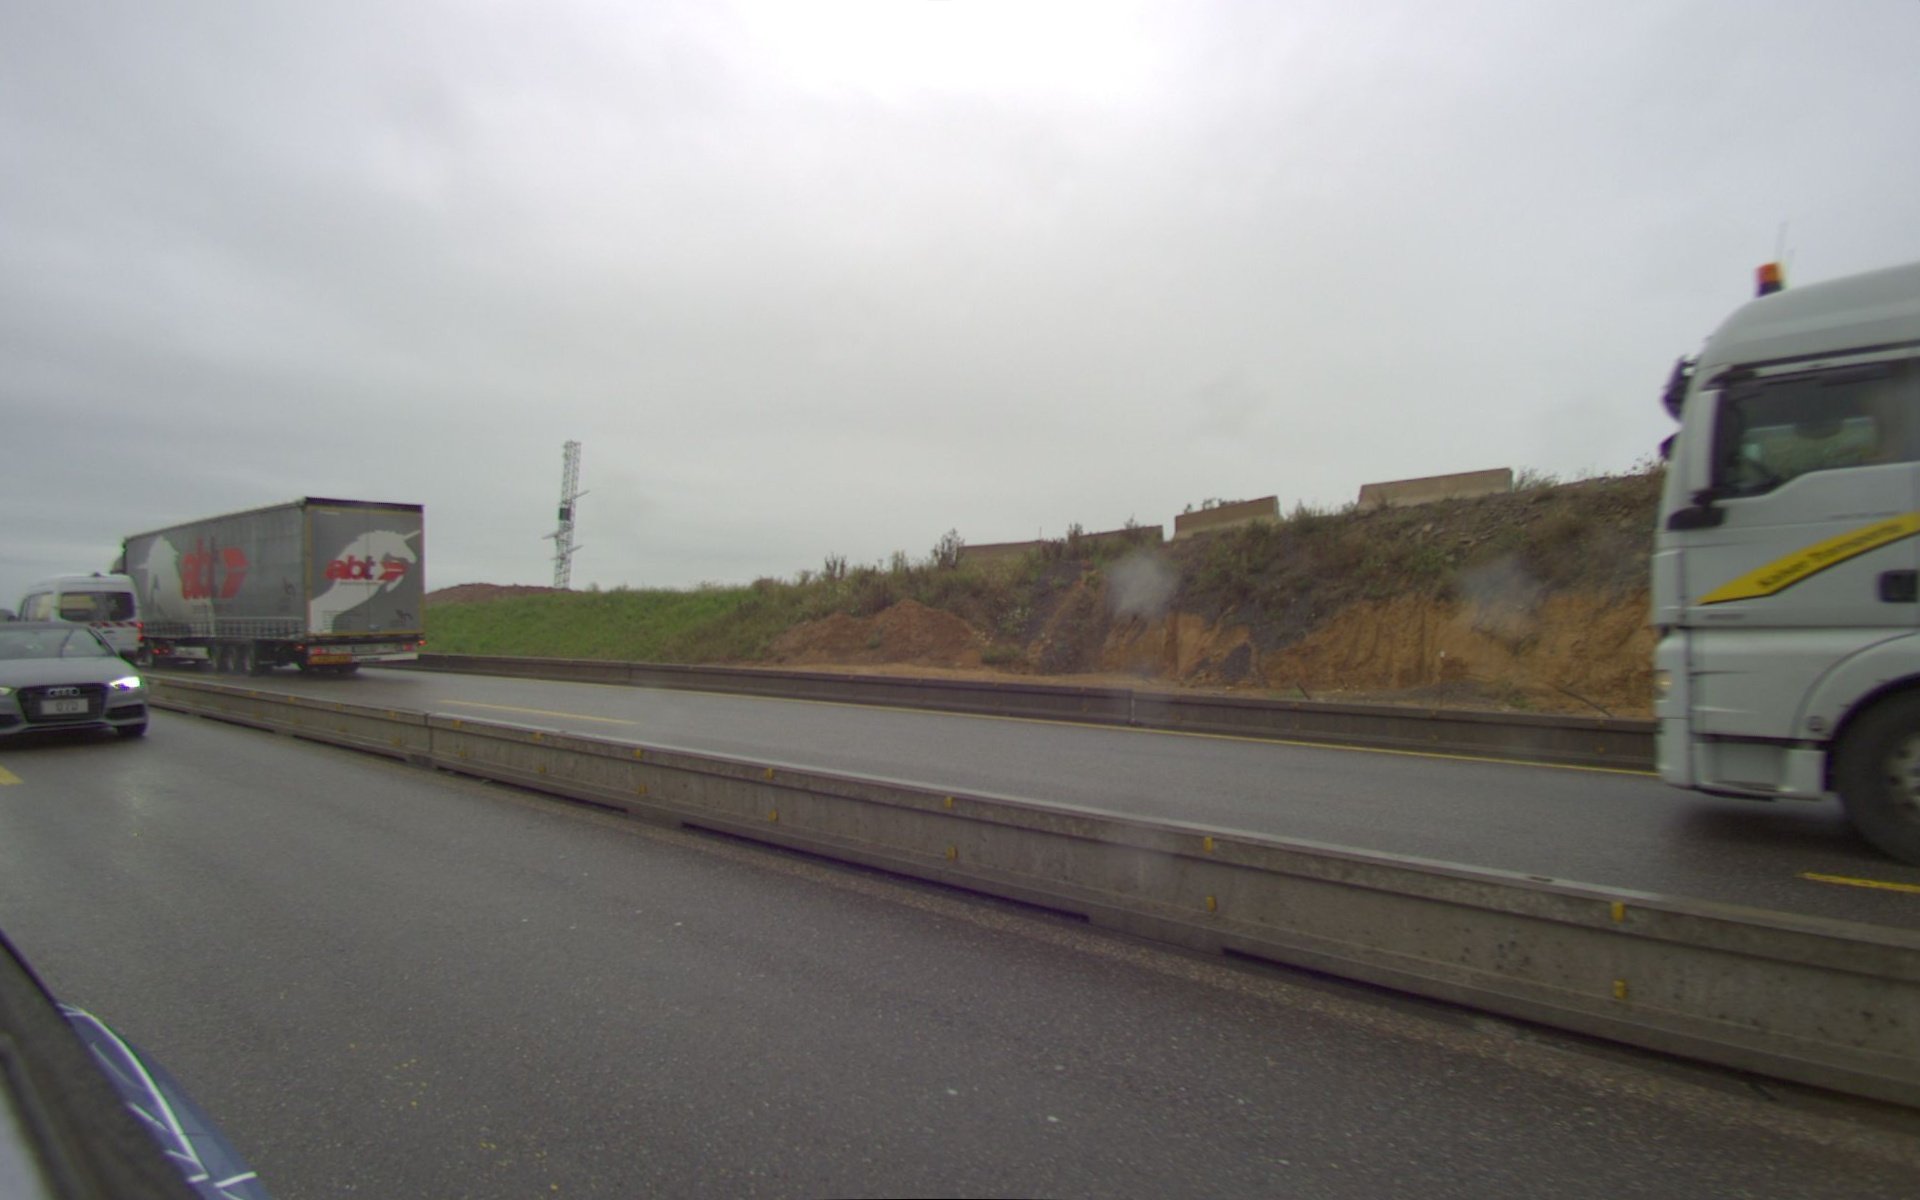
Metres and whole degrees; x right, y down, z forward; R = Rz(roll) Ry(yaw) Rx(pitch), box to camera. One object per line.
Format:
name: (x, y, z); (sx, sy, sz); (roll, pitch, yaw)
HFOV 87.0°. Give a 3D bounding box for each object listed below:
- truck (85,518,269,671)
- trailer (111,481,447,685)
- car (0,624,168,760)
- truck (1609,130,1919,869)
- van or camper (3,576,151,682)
truck: (-25.357, -0.043, 32.655); (6.921, 4.443, 2.951); (-1, -3, 38)
trailer: (-19.472, -0.167, 28.050); (15.680, 4.455, 2.966); (-2, -3, 38)
car: (-11.391, 1.015, 12.348); (4.082, 1.393, 1.783); (-1, -1, 38)
truck: (7.358, -0.542, 5.645); (5.879, 3.985, 3.197); (-1, -1, 41)
van or camper: (-24.365, 0.752, 27.844); (5.824, 2.634, 2.255); (-1, 0, 41)
